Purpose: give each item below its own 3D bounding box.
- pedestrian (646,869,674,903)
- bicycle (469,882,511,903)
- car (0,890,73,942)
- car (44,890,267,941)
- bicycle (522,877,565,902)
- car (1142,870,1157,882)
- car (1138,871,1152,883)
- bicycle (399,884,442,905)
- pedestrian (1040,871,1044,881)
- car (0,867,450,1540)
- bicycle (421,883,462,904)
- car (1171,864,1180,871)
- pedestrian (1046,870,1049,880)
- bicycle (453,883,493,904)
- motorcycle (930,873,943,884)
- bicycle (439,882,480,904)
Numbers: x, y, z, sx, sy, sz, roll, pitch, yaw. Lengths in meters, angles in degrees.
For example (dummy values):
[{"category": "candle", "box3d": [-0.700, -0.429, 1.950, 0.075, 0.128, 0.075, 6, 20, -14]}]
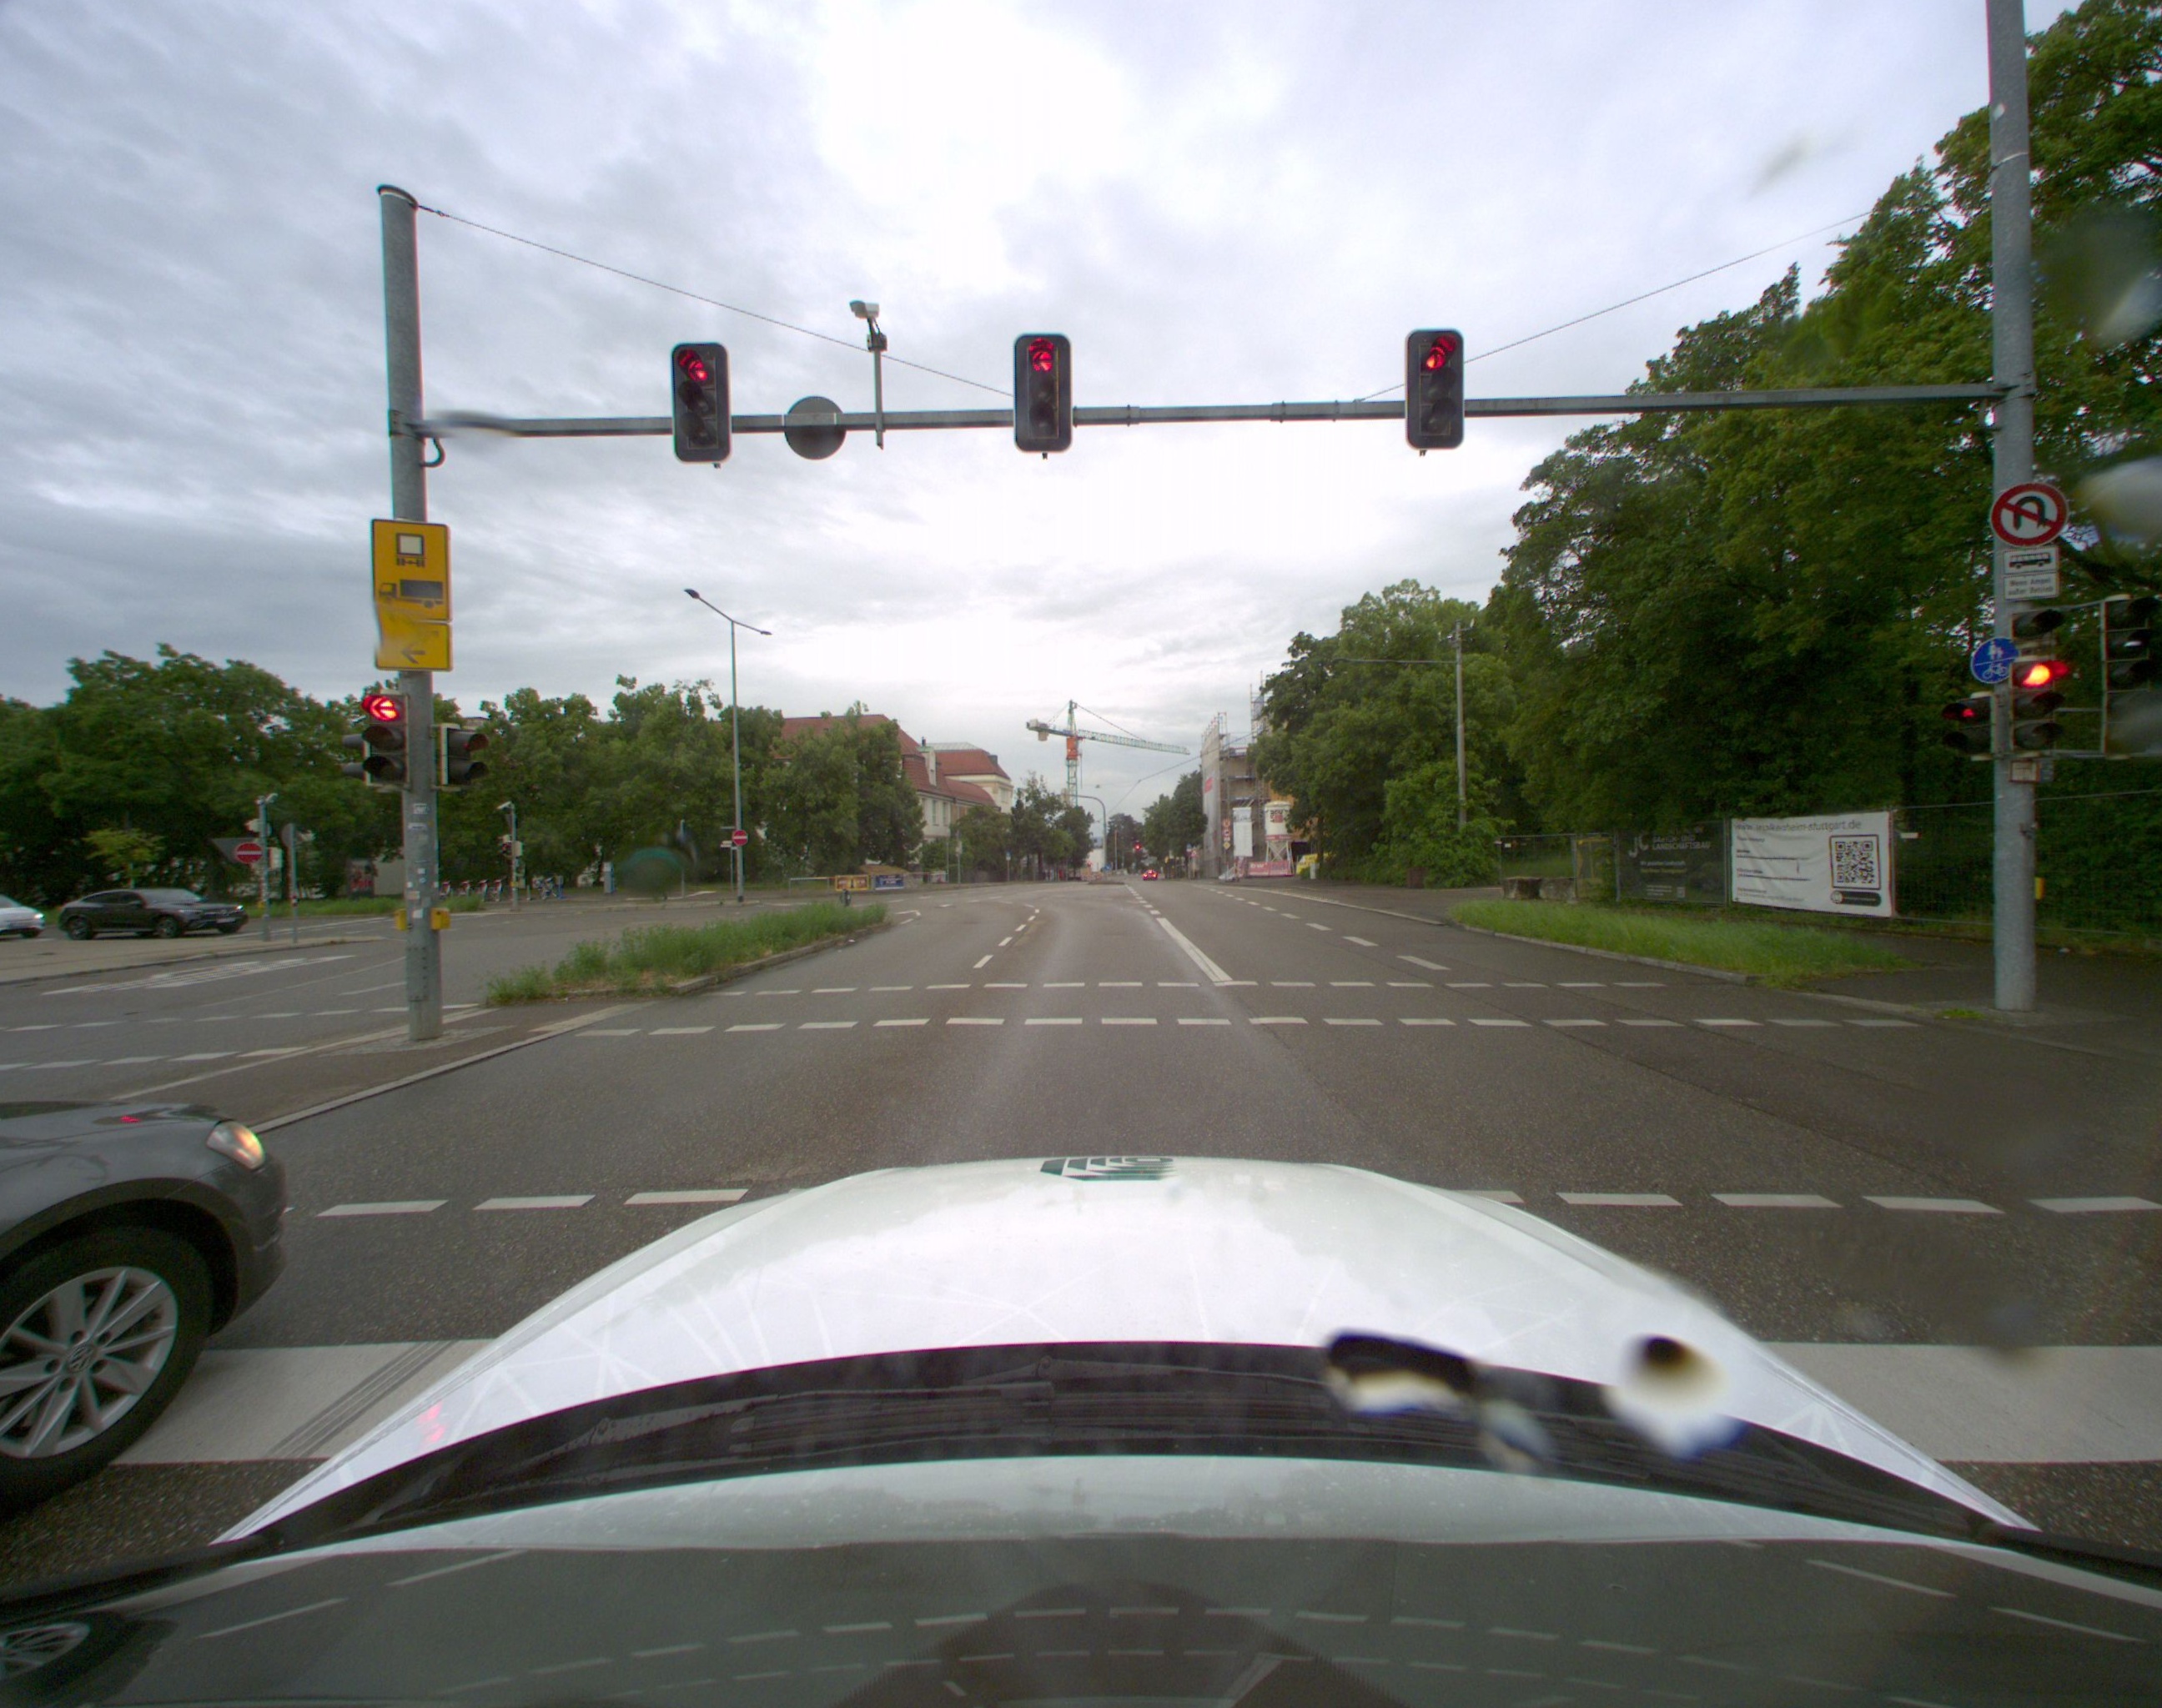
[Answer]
[{"category": "pedestrian", "box3d": [-21.983, 1.661, 42.551, 0.917, 1.727, 0.948, -1, -1, 8]}, {"category": "bicycle", "box3d": [-32.270, 2.069, 44.498, 0.798, 1.071, 1.982, 0, -1, 2]}, {"category": "car", "box3d": [-36.498, 2.038, 27.042, 3.539, 1.594, 2.001, 0, -1, 1]}, {"category": "car", "box3d": [-30.077, 1.987, 26.577, 5.006, 1.500, 2.001, 0, -1, 1]}, {"category": "bicycle", "box3d": [-29.437, 1.935, 44.607, 0.987, 1.249, 1.982, 0, -1, 2]}, {"category": "car", "box3d": [10.532, 3.383, 124.996, 1.986, 1.750, 4.001, -2, 0, 1]}, {"category": "car", "box3d": [10.197, 3.667, 130.631, 1.986, 1.750, 4.001, -2, 0, 1]}, {"category": "bicycle", "box3d": [-35.965, 2.180, 44.358, 0.649, 1.071, 1.982, 0, -1, 2]}, {"category": "pedestrian", "box3d": [-5.620, 3.148, 118.452, 0.473, 1.396, 0.411, -2, -1, 1]}, {"category": "car", "box3d": [-3.355, 0.806, 0.879, 1.809, 1.481, 4.378, -2, 0, 2]}, {"category": "bicycle", "box3d": [-34.988, 2.145, 44.573, 0.649, 1.071, 1.982, 0, -1, 2]}, {"category": "car", "box3d": [25.449, 3.519, 218.943, 1.980, 1.750, 4.014, -2, 0, 13]}, {"category": "pedestrian", "box3d": [-4.853, 3.014, 118.316, 0.473, 1.396, 0.411, -2, -1, 1]}, {"category": "bicycle", "box3d": [-33.019, 2.121, 44.267, 0.649, 1.071, 1.982, 0, -1, 2]}, {"category": "motorcycle", "box3d": [-11.528, 1.954, 65.119, 0.846, 0.877, 0.877, 0, -1, 1]}, {"category": "bicycle", "box3d": [-33.909, 2.117, 44.442, 0.649, 1.071, 1.982, 0, -1, 2]}]
